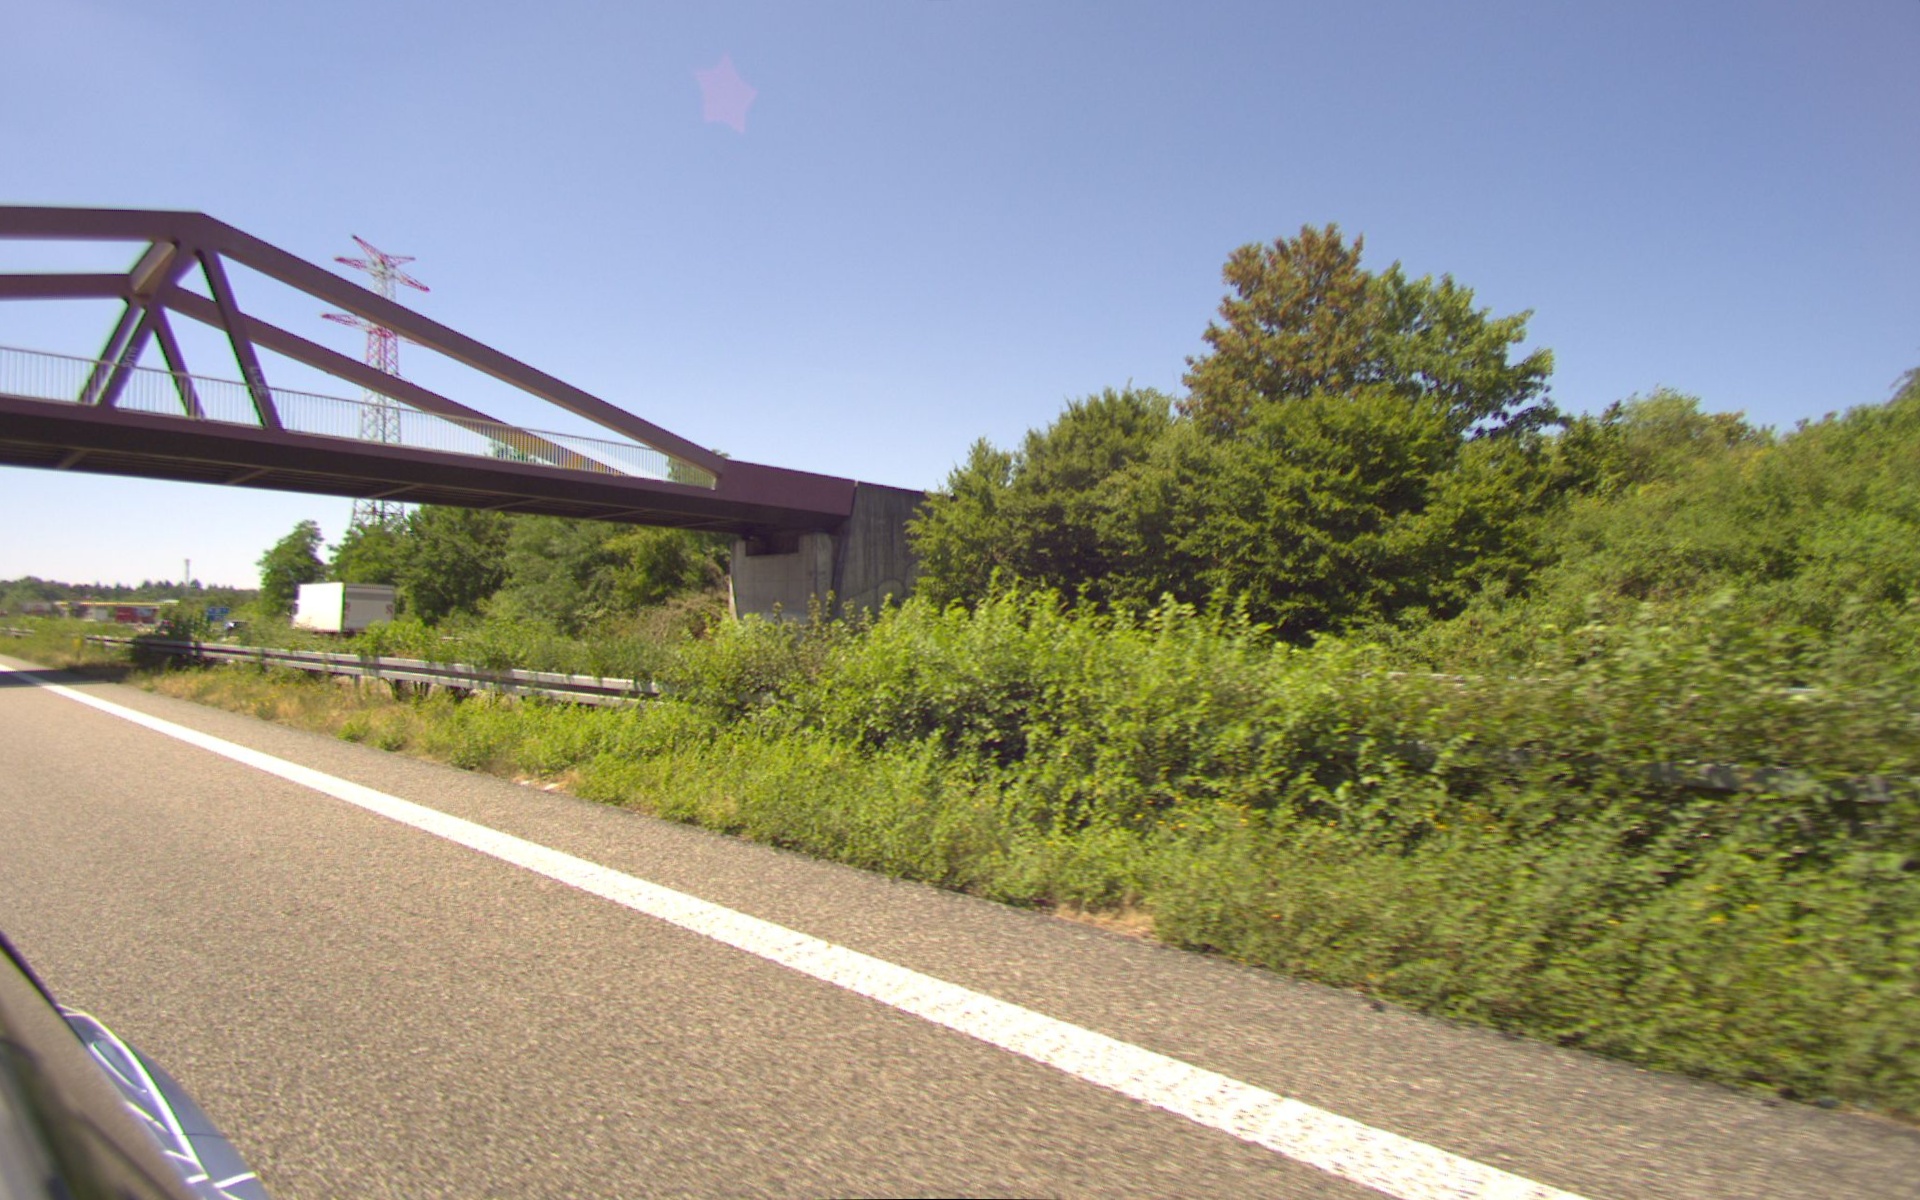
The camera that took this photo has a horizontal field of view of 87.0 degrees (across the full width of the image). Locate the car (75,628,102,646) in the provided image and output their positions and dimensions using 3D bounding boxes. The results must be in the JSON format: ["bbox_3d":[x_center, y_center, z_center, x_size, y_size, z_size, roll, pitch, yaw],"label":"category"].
[{"bbox_3d":[-99.396,4.207,115.387,4.255,1.851,1.784,-1,0,41],"label":"car"}]

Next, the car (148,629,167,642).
[{"bbox_3d":[-105.676,4.637,133.302,3.362,1.625,1.359,-1,0,41],"label":"car"}]

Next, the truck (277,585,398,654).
[{"bbox_3d":[-34.729,1.142,56.220,10.184,3.564,2.778,-1,-3,41],"label":"truck"}]

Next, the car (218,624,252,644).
[{"bbox_3d":[-67.673,3.140,94.455,4.403,1.781,1.682,-1,0,43],"label":"car"}]
